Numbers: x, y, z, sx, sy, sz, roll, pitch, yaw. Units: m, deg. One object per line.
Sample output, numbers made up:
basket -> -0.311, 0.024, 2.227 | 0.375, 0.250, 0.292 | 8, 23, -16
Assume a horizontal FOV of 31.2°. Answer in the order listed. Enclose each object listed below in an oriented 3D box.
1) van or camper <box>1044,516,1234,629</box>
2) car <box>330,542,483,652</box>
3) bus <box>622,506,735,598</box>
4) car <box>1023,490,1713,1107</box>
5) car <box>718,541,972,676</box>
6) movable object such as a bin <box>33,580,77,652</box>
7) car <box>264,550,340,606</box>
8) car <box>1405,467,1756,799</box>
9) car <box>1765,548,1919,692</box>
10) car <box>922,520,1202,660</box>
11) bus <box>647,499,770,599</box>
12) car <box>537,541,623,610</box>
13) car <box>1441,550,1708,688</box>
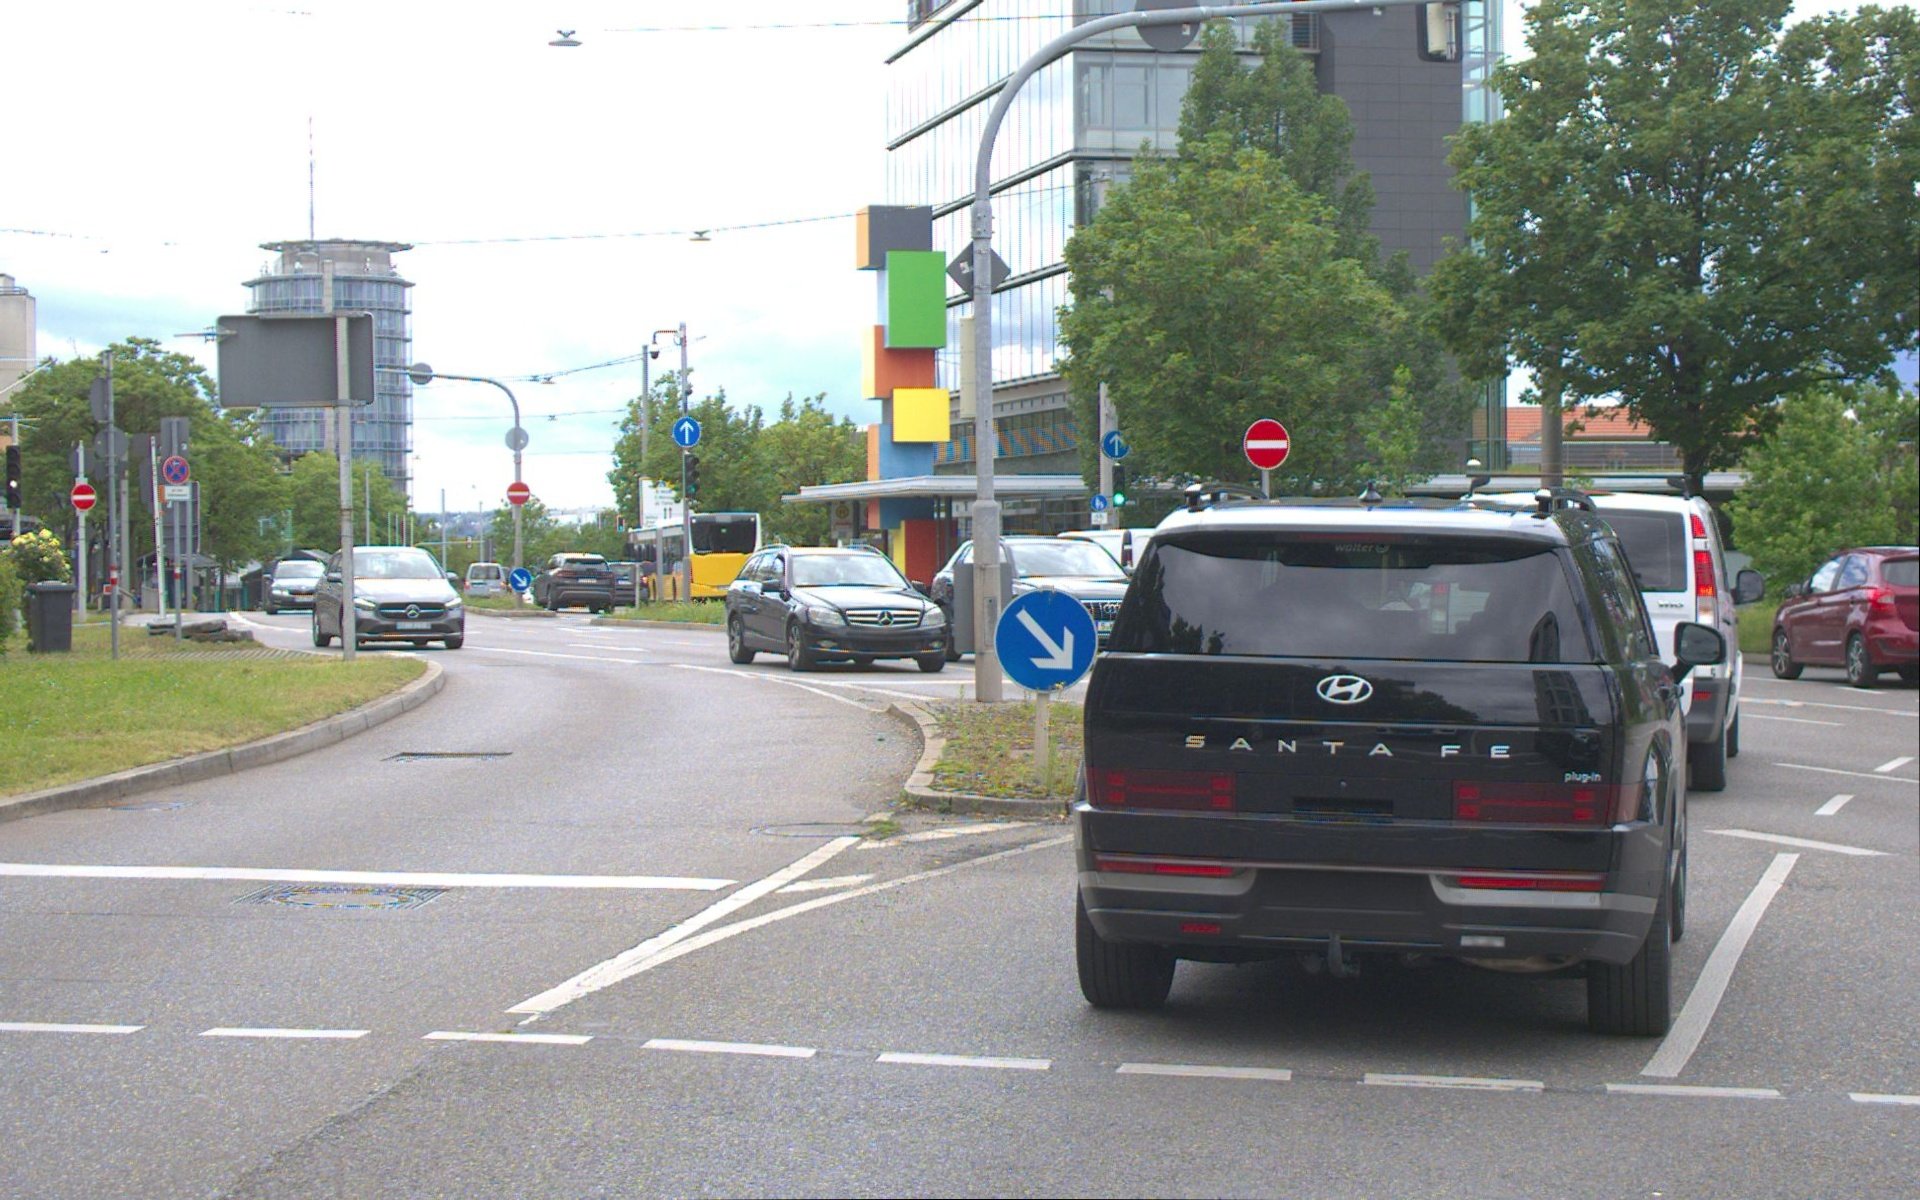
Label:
van or camper -> 3.160, -0.527, 61.659 | 1.993, 1.911, 4.410 | 0, 2, -17
car -> -8.512, -0.074, 52.591 | 1.782, 1.532, 4.397 | 1, 2, -16
bus -> -10.231, -1.698, 123.997 | 2.951, 3.101, 9.978 | -2, 1, -11
car -> 1.640, 0.536, 12.178 | 1.903, 1.725, 4.443 | 1, 1, 13
car -> -1.413, 0.062, 40.306 | 1.782, 1.421, 4.397 | 1, 2, -18
movable object such as a bin -> -12.921, 0.226, 49.087 | 0.563, 1.009, 0.838 | 0, 1, -17
car -> -17.781, -0.593, 92.766 | 1.798, 1.450, 4.614 | -1, 1, -13
car -> 4.272, 0.165, 23.114 | 1.903, 1.962, 4.633 | 1, 1, 15
car -> 10.225, 0.192, 37.645 | 1.744, 1.476, 3.719 | 1, 1, -3
car -> 1.174, -0.157, 42.014 | 1.887, 1.559, 4.397 | 1, 2, -20
bus -> -8.466, -1.658, 114.646 | 2.965, 3.106, 9.246 | -2, 1, -11
car -> -10.739, -0.707, 96.862 | 1.901, 1.853, 4.711 | 1, 1, -12
car -> 6.843, 0.172, 38.762 | 1.873, 1.413, 4.443 | 1, 1, -4
